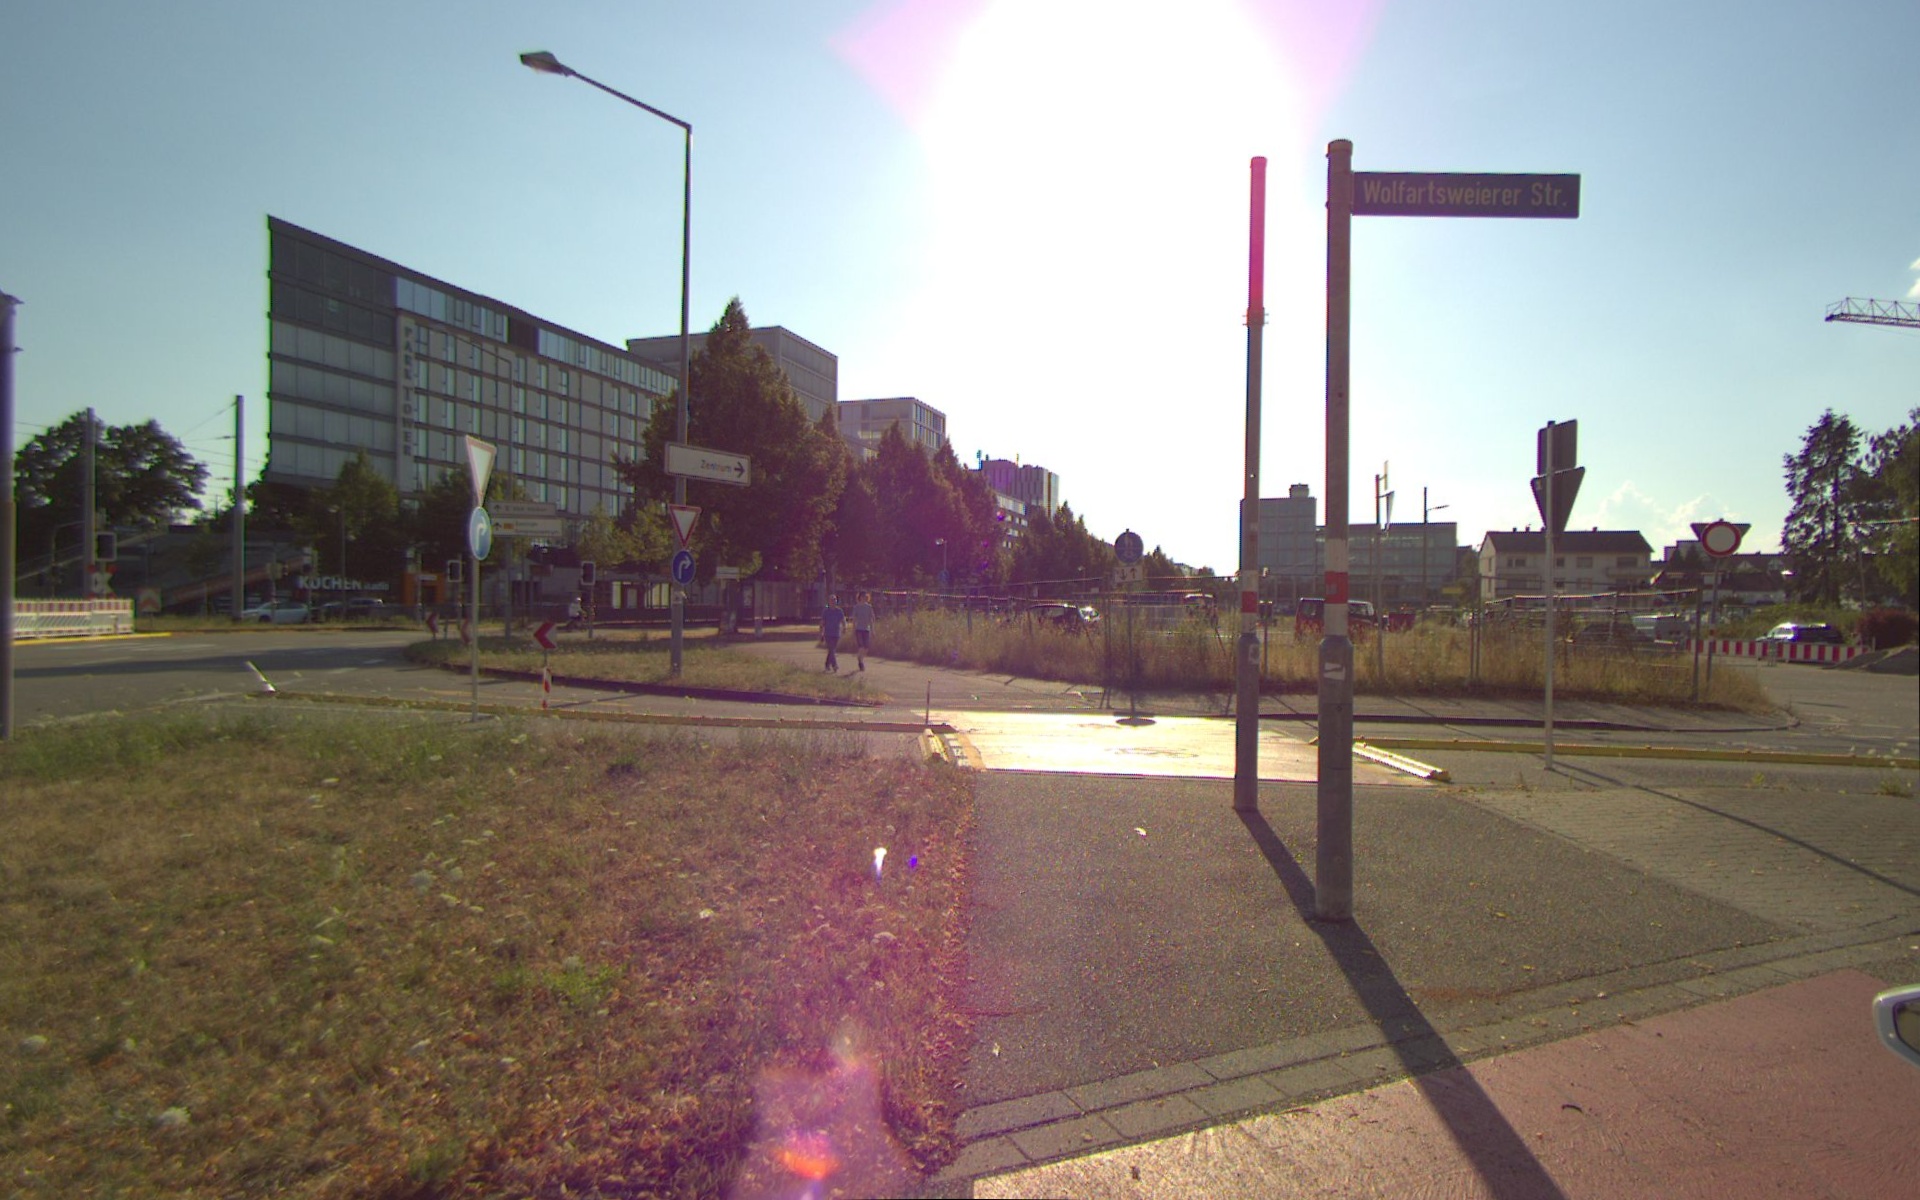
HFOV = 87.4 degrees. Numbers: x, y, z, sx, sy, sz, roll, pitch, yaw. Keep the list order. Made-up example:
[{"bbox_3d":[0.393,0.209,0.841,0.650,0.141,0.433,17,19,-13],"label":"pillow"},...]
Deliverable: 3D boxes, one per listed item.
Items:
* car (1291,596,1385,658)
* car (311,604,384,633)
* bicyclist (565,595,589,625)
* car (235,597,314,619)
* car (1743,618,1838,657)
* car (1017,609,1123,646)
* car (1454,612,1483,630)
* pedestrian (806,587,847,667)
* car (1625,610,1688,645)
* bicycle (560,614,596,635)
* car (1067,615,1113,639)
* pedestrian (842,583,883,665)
[{"bbox_3d":[13.693,0.924,36.165,1.966,2.040,5.297,1,0,34],"label":"car"},{"bbox_3d":[-35.705,1.053,58.596,1.535,1.595,3.332,1,0,30],"label":"car"},{"bbox_3d":[-18.757,0.481,49.225,0.853,1.429,0.629,2,1,10],"label":"bicyclist"},{"bbox_3d":[-39.797,0.470,58.375,1.627,1.256,3.502,1,0,23],"label":"car"},{"bbox_3d":[36.754,1.635,44.588,1.960,1.572,4.000,1,0,19],"label":"car"},{"bbox_3d":[4.454,1.112,41.153,4.160,1.381,2.001,1,0,3],"label":"car"},{"bbox_3d":[55.055,2.247,108.828,2.110,1.862,4.363,1,0,17],"label":"car"},{"bbox_3d":[-2.977,0.598,22.374,0.773,1.731,0.809,1,0,-17],"label":"pedestrian"},{"bbox_3d":[41.464,1.613,59.900,1.831,1.974,4.002,1,0,15],"label":"car"},{"bbox_3d":[-18.725,1.189,49.312,0.833,0.941,1.720,1,0,12],"label":"bicycle"},{"bbox_3d":[6.864,1.390,52.661,1.306,1.182,3.933,1,0,24],"label":"car"},{"bbox_3d":[-2.193,0.535,22.556,0.748,1.799,0.769,1,0,-17],"label":"pedestrian"}]
